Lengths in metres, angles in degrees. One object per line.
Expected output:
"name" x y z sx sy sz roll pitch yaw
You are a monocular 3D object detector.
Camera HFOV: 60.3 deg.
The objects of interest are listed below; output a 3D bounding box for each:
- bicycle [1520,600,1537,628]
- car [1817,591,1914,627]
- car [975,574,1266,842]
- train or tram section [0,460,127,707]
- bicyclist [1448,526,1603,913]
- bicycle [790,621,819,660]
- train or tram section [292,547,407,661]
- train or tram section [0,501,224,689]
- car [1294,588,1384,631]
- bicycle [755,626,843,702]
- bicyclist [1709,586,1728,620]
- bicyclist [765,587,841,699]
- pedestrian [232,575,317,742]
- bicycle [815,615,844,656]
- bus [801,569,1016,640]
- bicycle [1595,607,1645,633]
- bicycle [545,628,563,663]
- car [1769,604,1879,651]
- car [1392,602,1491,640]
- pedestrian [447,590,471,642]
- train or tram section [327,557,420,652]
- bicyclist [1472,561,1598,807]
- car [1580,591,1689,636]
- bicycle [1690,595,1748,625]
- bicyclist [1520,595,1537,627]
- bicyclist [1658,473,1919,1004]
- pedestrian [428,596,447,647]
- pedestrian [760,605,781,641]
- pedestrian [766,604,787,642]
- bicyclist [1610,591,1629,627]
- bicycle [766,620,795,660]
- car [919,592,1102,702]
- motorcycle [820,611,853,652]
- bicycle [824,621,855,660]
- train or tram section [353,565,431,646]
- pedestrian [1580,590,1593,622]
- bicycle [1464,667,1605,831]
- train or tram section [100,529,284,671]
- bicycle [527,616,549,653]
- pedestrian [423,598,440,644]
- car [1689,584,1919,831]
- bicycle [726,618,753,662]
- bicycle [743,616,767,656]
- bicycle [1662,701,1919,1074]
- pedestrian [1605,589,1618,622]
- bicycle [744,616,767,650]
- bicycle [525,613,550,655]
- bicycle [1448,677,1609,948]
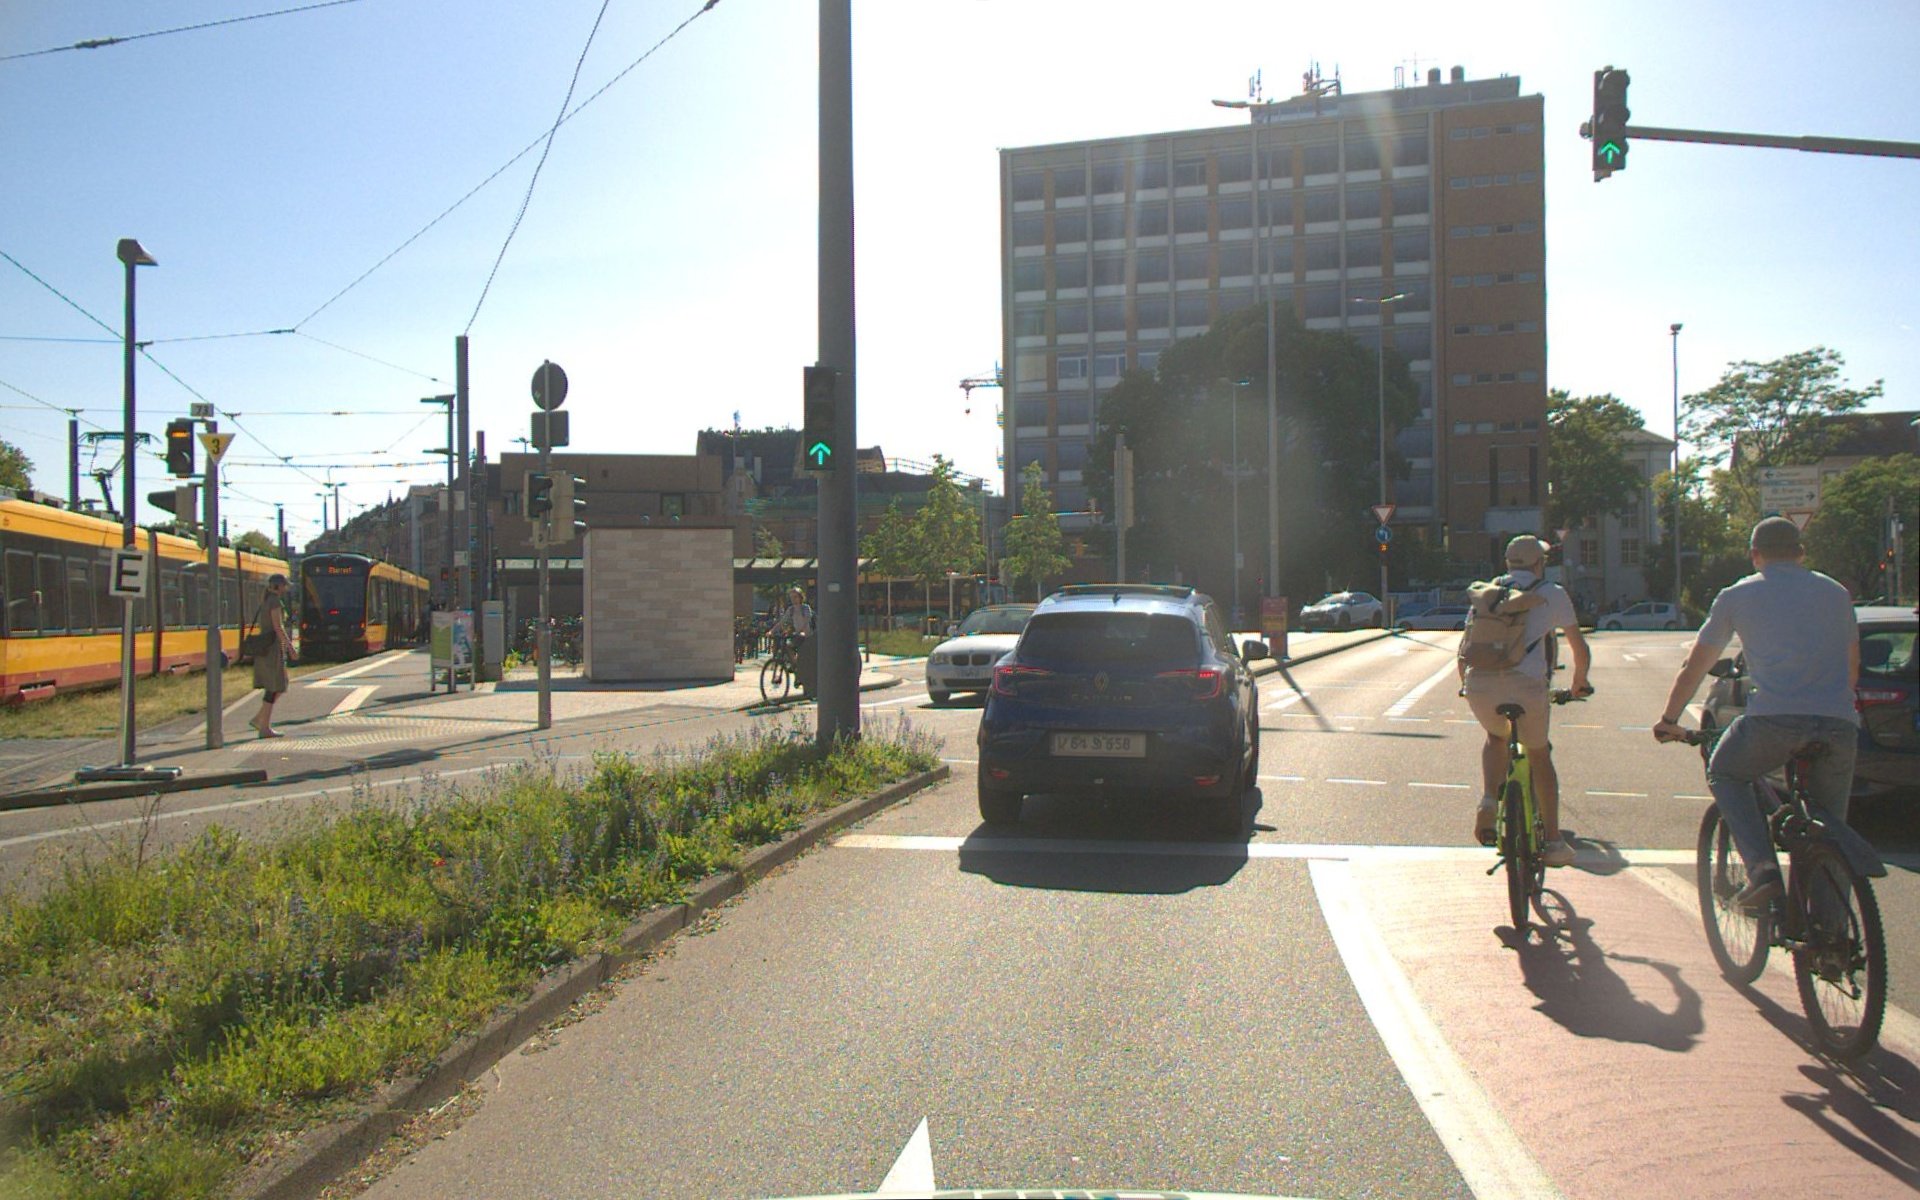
"bicycle" 33.100 0.834 96.325 0.863 1.568 2.812 0 -2 18
"car" 41.760 0.429 76.289 3.824 1.614 1.875 -1 -2 32
"car" 1.321 0.668 12.126 1.784 1.628 3.662 1 0 11
"train or tram section" -16.104 -0.199 26.727 2.772 3.569 10.432 -1 0 -16
"bicyclist" 2.786 0.549 8.188 0.650 1.778 1.006 -1 0 18
"bicycle" -3.945 1.024 41.888 0.570 0.978 2.053 1 -2 -10
"train or tram section" -20.973 0.168 57.321 2.824 3.569 10.498 0 0 -15
"train or tram section" -18.822 -0.063 36.758 2.770 3.569 10.568 0 -1 -15
"car" 15.536 0.379 67.632 1.791 1.596 4.226 -3 -1 41
"bicycle" -2.473 0.972 25.693 0.756 1.099 2.037 -1 -1 12
"bicyclist" 39.593 0.166 86.362 0.841 1.722 0.884 0 -2 23
"bicyclist" -2.415 0.662 25.581 0.861 1.673 1.061 -1 -1 12
"pedestrian" -8.027 0.663 19.387 0.887 1.882 0.759 -1 2 -23
"bicycle" -3.487 0.942 44.184 0.570 1.070 1.967 1 -2 -10
"bus" -2.852 0.289 85.610 12.207 3.455 2.869 -1 -2 39
"bicycle" 35.599 1.083 89.225 2.404 1.394 0.850 0 -2 29
"bicycle" -11.336 1.258 46.135 0.415 0.954 1.300 1 -1 -16
"car" 38.614 1.241 73.961 4.290 2.049 1.996 0 -2 30
"car" 24.968 1.093 85.756 4.568 1.933 1.994 -1 -2 33
"pedestrian" -18.573 0.613 61.321 0.834 1.916 0.757 1 -2 -17
"train or tram section" -23.775 0.205 67.485 2.824 3.569 10.498 0 0 -15
"bicyclist" 4.067 0.567 11.767 0.706 1.654 1.056 1 0 12
"car" 31.845 0.640 78.067 4.563 2.049 1.996 0 -2 30
"bicycle" 39.601 0.527 86.348 2.745 1.568 0.884 0 -2 23
"bicyclist" 33.104 0.656 96.323 0.863 1.829 1.161 0 -2 18
"bicyclist" 3.109 0.474 6.200 0.733 1.807 1.015 0 -1 13
"pedestrian" -19.711 0.809 62.451 0.594 1.889 0.792 1 -2 -13
"pedestrian" -9.282 1.138 81.020 0.642 1.772 0.785 -1 -2 36
"pedestrian" -8.796 1.109 79.379 0.614 1.772 0.785 -1 -2 36
"bicyclist" 35.592 0.490 89.239 0.840 1.879 0.850 -1 -2 29
"bicycle" -4.542 1.018 41.780 0.570 0.978 2.053 1 -2 -10
"car" 0.886 0.679 25.976 1.762 1.417 4.096 -1 2 18
"motorcycle" -3.738 0.956 49.923 0.542 1.197 1.911 1 -2 -19
"bicycle" -3.084 1.036 42.160 0.570 0.978 2.053 1 -2 -10
"train or tram section" -26.543 0.260 77.699 2.824 3.569 10.498 0 0 -15
"pedestrian" 33.457 0.327 88.388 0.550 1.699 0.475 -1 -2 35
"bicycle" 4.085 1.022 11.885 0.707 0.976 1.885 1 0 12
"train or tram section" -21.555 0.044 47.122 2.769 3.569 11.165 0 -1 -15
"bicycle" -12.927 1.058 50.672 0.556 1.113 2.023 1 -2 -12
"pedestrian" -21.944 0.865 68.702 0.623 1.889 0.698 1 -2 -21
"car" 6.761 0.716 12.267 1.718 1.569 3.661 0 -1 11
"bicycle" -5.529 1.001 41.370 0.570 1.076 1.811 1 -2 -10
"bicycle" -5.881 1.034 47.394 0.570 1.107 2.053 1 -2 -10
"bicycle" 3.155 0.985 6.257 0.598 1.096 1.831 0 0 13
"pedestrian" 33.931 0.277 86.125 0.546 1.699 0.475 -1 -2 35
"bicycle" -6.794 1.091 54.838 0.570 1.107 1.865 1 -2 -12
"bicycle" -11.345 0.912 44.419 0.556 1.113 2.023 1 -2 -12
"bicycle" 2.787 0.969 8.176 0.649 1.065 1.891 -1 0 18
